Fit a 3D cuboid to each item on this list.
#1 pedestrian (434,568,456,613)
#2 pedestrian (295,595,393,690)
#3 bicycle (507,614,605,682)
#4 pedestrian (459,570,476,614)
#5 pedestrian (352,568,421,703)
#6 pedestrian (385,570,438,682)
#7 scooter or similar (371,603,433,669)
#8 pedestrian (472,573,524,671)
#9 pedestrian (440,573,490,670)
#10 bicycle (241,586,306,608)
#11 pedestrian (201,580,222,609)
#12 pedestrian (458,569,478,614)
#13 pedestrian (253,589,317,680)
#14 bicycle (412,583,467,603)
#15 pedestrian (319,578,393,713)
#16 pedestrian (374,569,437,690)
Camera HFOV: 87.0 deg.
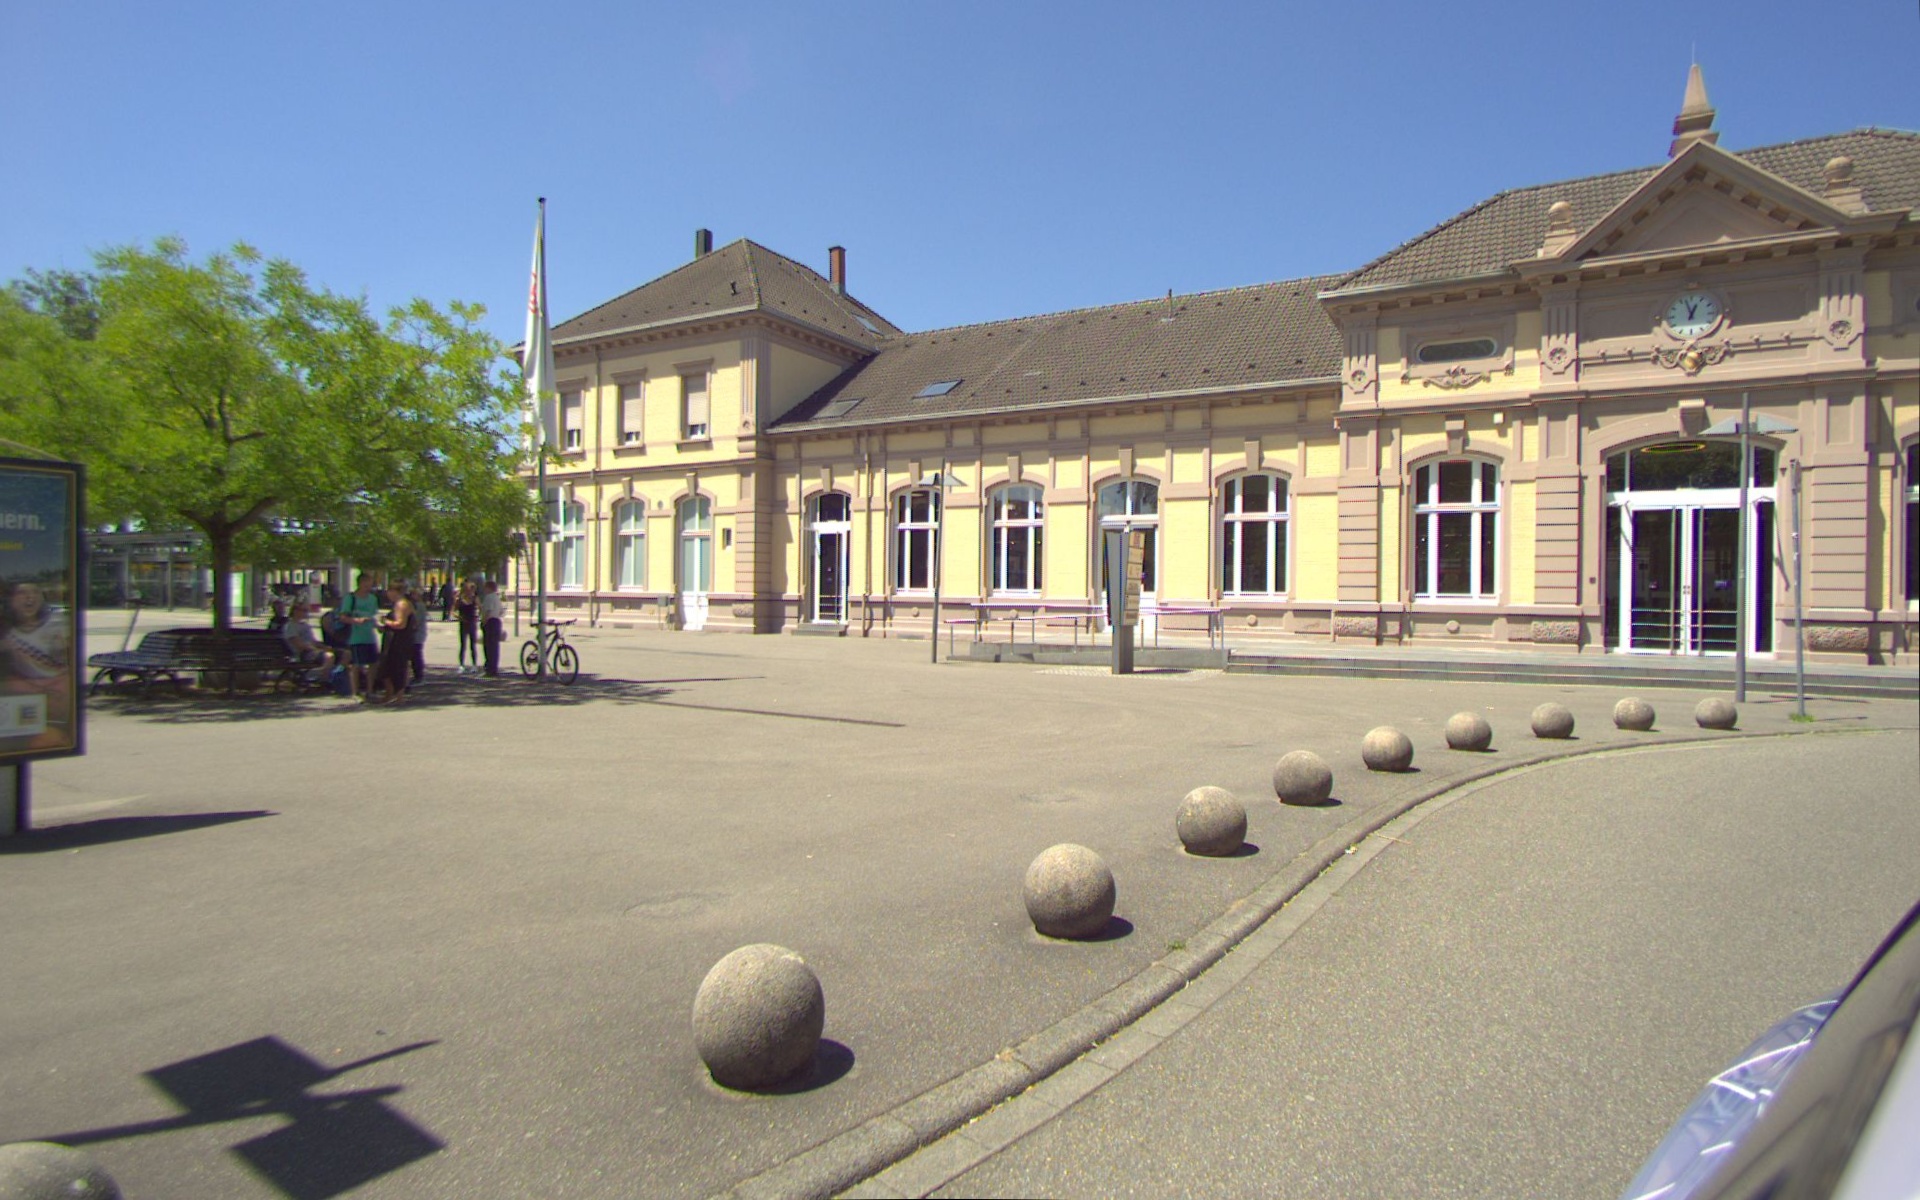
[{"bbox_3d":[-21.293,-0.384,41.834,0.678,1.832,0.631,1,0,-38],"label":"pedestrian"},{"bbox_3d":[-9.424,0.628,15.515,0.926,1.403,0.912,1,0,1],"label":"pedestrian"},{"bbox_3d":[-6.900,0.796,17.246,1.931,1.073,0.417,0,0,29],"label":"bicycle"},{"bbox_3d":[-20.791,-0.339,42.733,0.541,1.832,0.498,1,0,-39],"label":"pedestrian"},{"bbox_3d":[-7.692,0.460,13.598,0.538,1.762,0.627,1,0,5],"label":"pedestrian"},{"bbox_3d":[-8.778,0.402,16.202,0.560,1.762,0.512,1,0,1],"label":"pedestrian"},{"bbox_3d":[-10.069,0.633,18.279,0.291,1.153,1.020,0,0,22],"label":"scooter or similar"},{"bbox_3d":[-8.228,0.381,18.034,0.583,1.706,0.616,1,0,18],"label":"pedestrian"},{"bbox_3d":[-8.947,0.374,18.295,0.579,1.706,0.552,1,0,18],"label":"pedestrian"},{"bbox_3d":[-36.002,-0.141,53.144,0.804,1.017,2.767,0,-2,28],"label":"bicycle"},{"bbox_3d":[-37.664,-0.273,50.957,0.671,1.412,0.620,0,1,30],"label":"pedestrian"},{"bbox_3d":[-20.497,-0.355,42.152,0.620,1.832,0.595,1,0,-39],"label":"pedestrian"},{"bbox_3d":[-10.578,0.526,15.872,0.589,1.381,0.599,1,0,2],"label":"pedestrian"},{"bbox_3d":[-30.016,-0.371,58.409,0.958,1.017,2.767,0,-2,28],"label":"bicycle"},{"bbox_3d":[-8.246,0.600,13.837,0.574,1.786,0.693,1,0,3],"label":"pedestrian"},{"bbox_3d":[-8.302,0.430,15.157,0.589,1.762,0.584,1,0,5],"label":"pedestrian"}]
